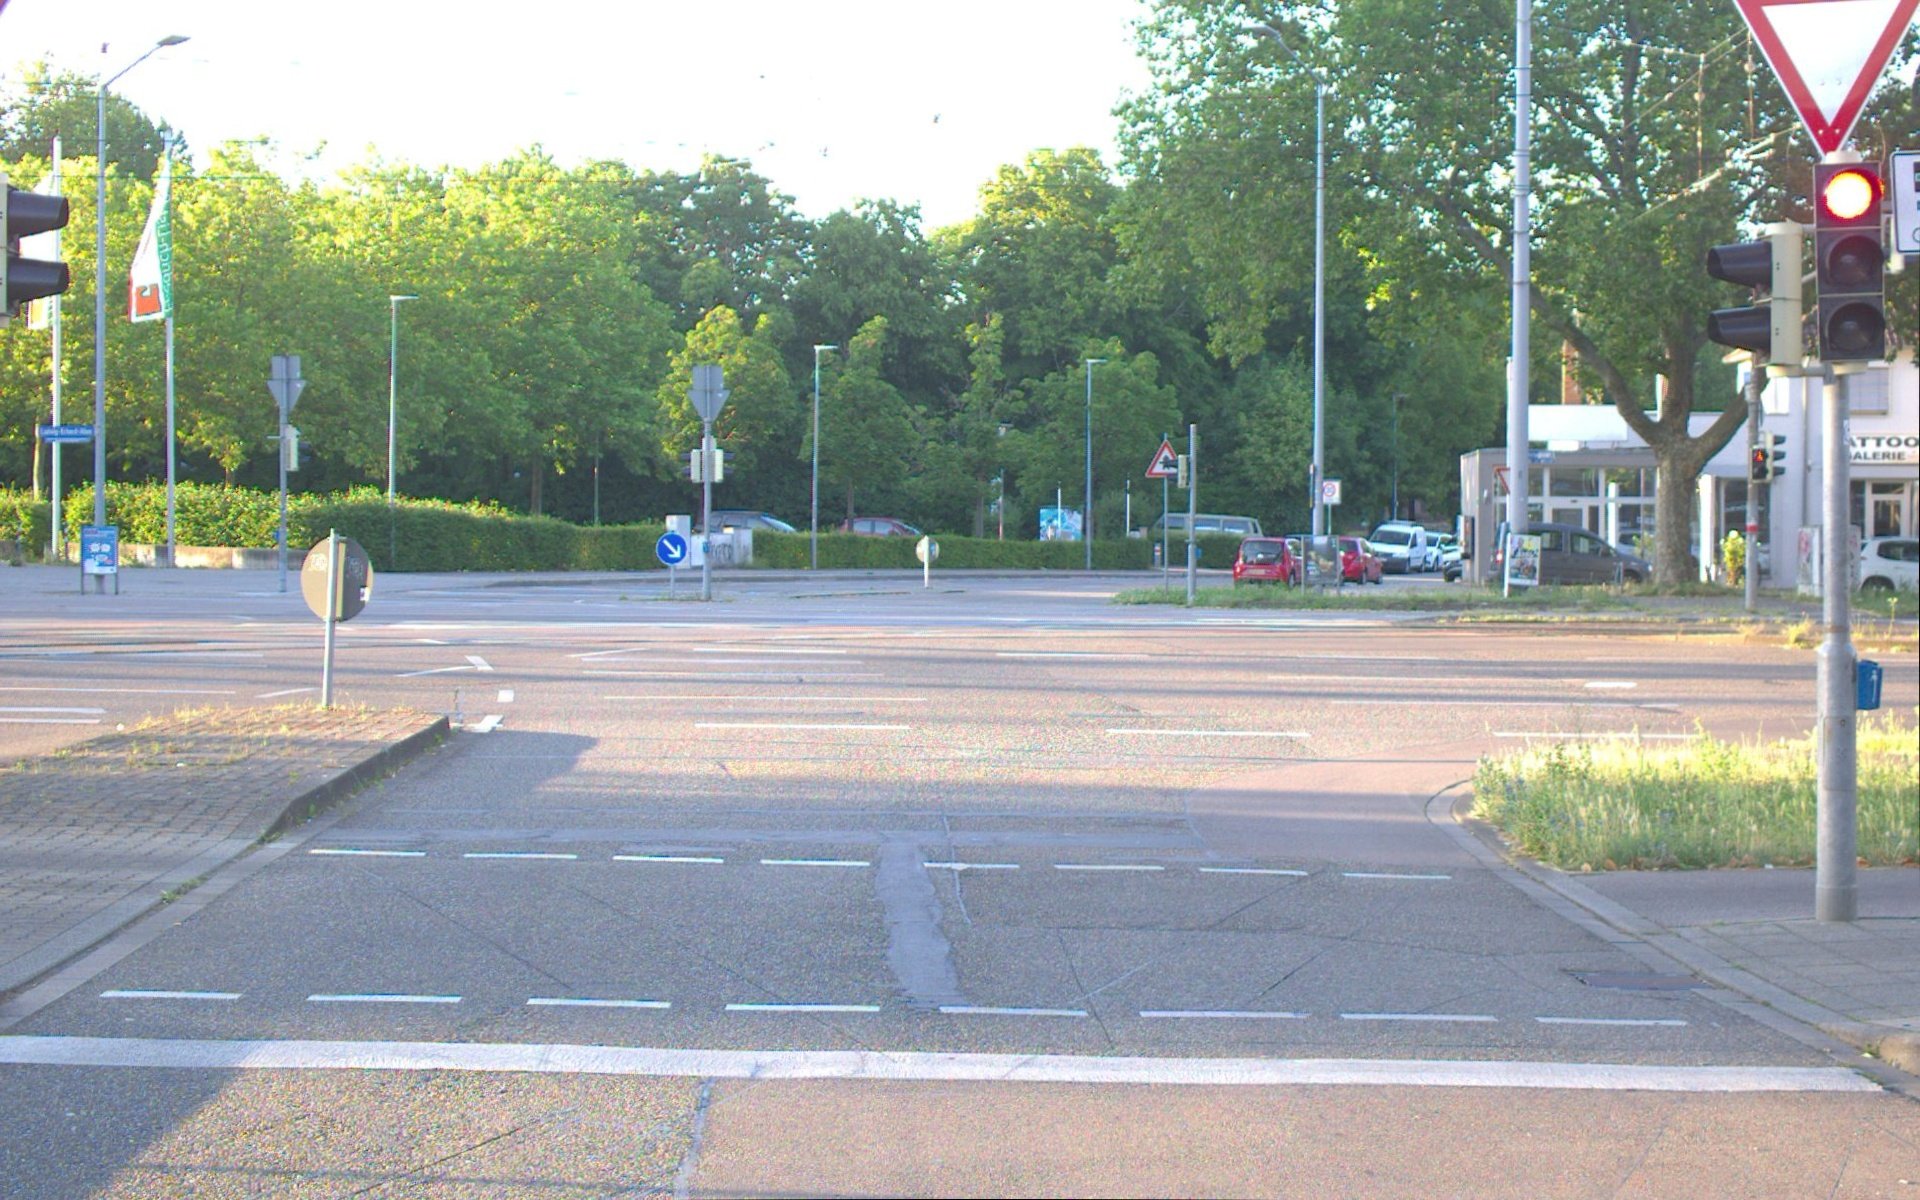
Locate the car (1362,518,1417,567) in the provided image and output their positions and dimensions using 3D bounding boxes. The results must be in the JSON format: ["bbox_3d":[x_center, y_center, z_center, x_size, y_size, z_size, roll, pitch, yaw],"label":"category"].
[{"bbox_3d":[16.418,-2.181,131.185,1.864,1.788,3.998,1,0,10],"label":"car"}]

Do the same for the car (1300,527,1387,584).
[{"bbox_3d":[11.549,-1.330,103.369,1.995,1.656,3.997,1,0,15],"label":"car"}]

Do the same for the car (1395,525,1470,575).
[{"bbox_3d":[15.914,-1.668,115.594,1.995,1.656,3.997,1,0,15],"label":"car"}]

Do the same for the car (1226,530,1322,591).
[{"bbox_3d":[8.770,-1.092,95.682,1.995,1.656,3.997,1,0,15],"label":"car"}]

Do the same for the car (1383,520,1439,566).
[{"bbox_3d":[17.873,-2.243,136.080,1.864,1.788,3.998,1,0,12],"label":"car"}]

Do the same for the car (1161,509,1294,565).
[{"bbox_3d":[9.774,-2.310,125.870,4.774,1.999,2.000,0,0,2],"label":"car"}]

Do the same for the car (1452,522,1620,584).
[{"bbox_3d":[14.905,-1.210,89.164,4.220,1.547,1.999,1,0,7],"label":"car"}]

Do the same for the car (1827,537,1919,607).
[{"bbox_3d":[20.211,-0.582,72.186,3.741,1.435,1.663,1,0,9],"label":"car"}]
